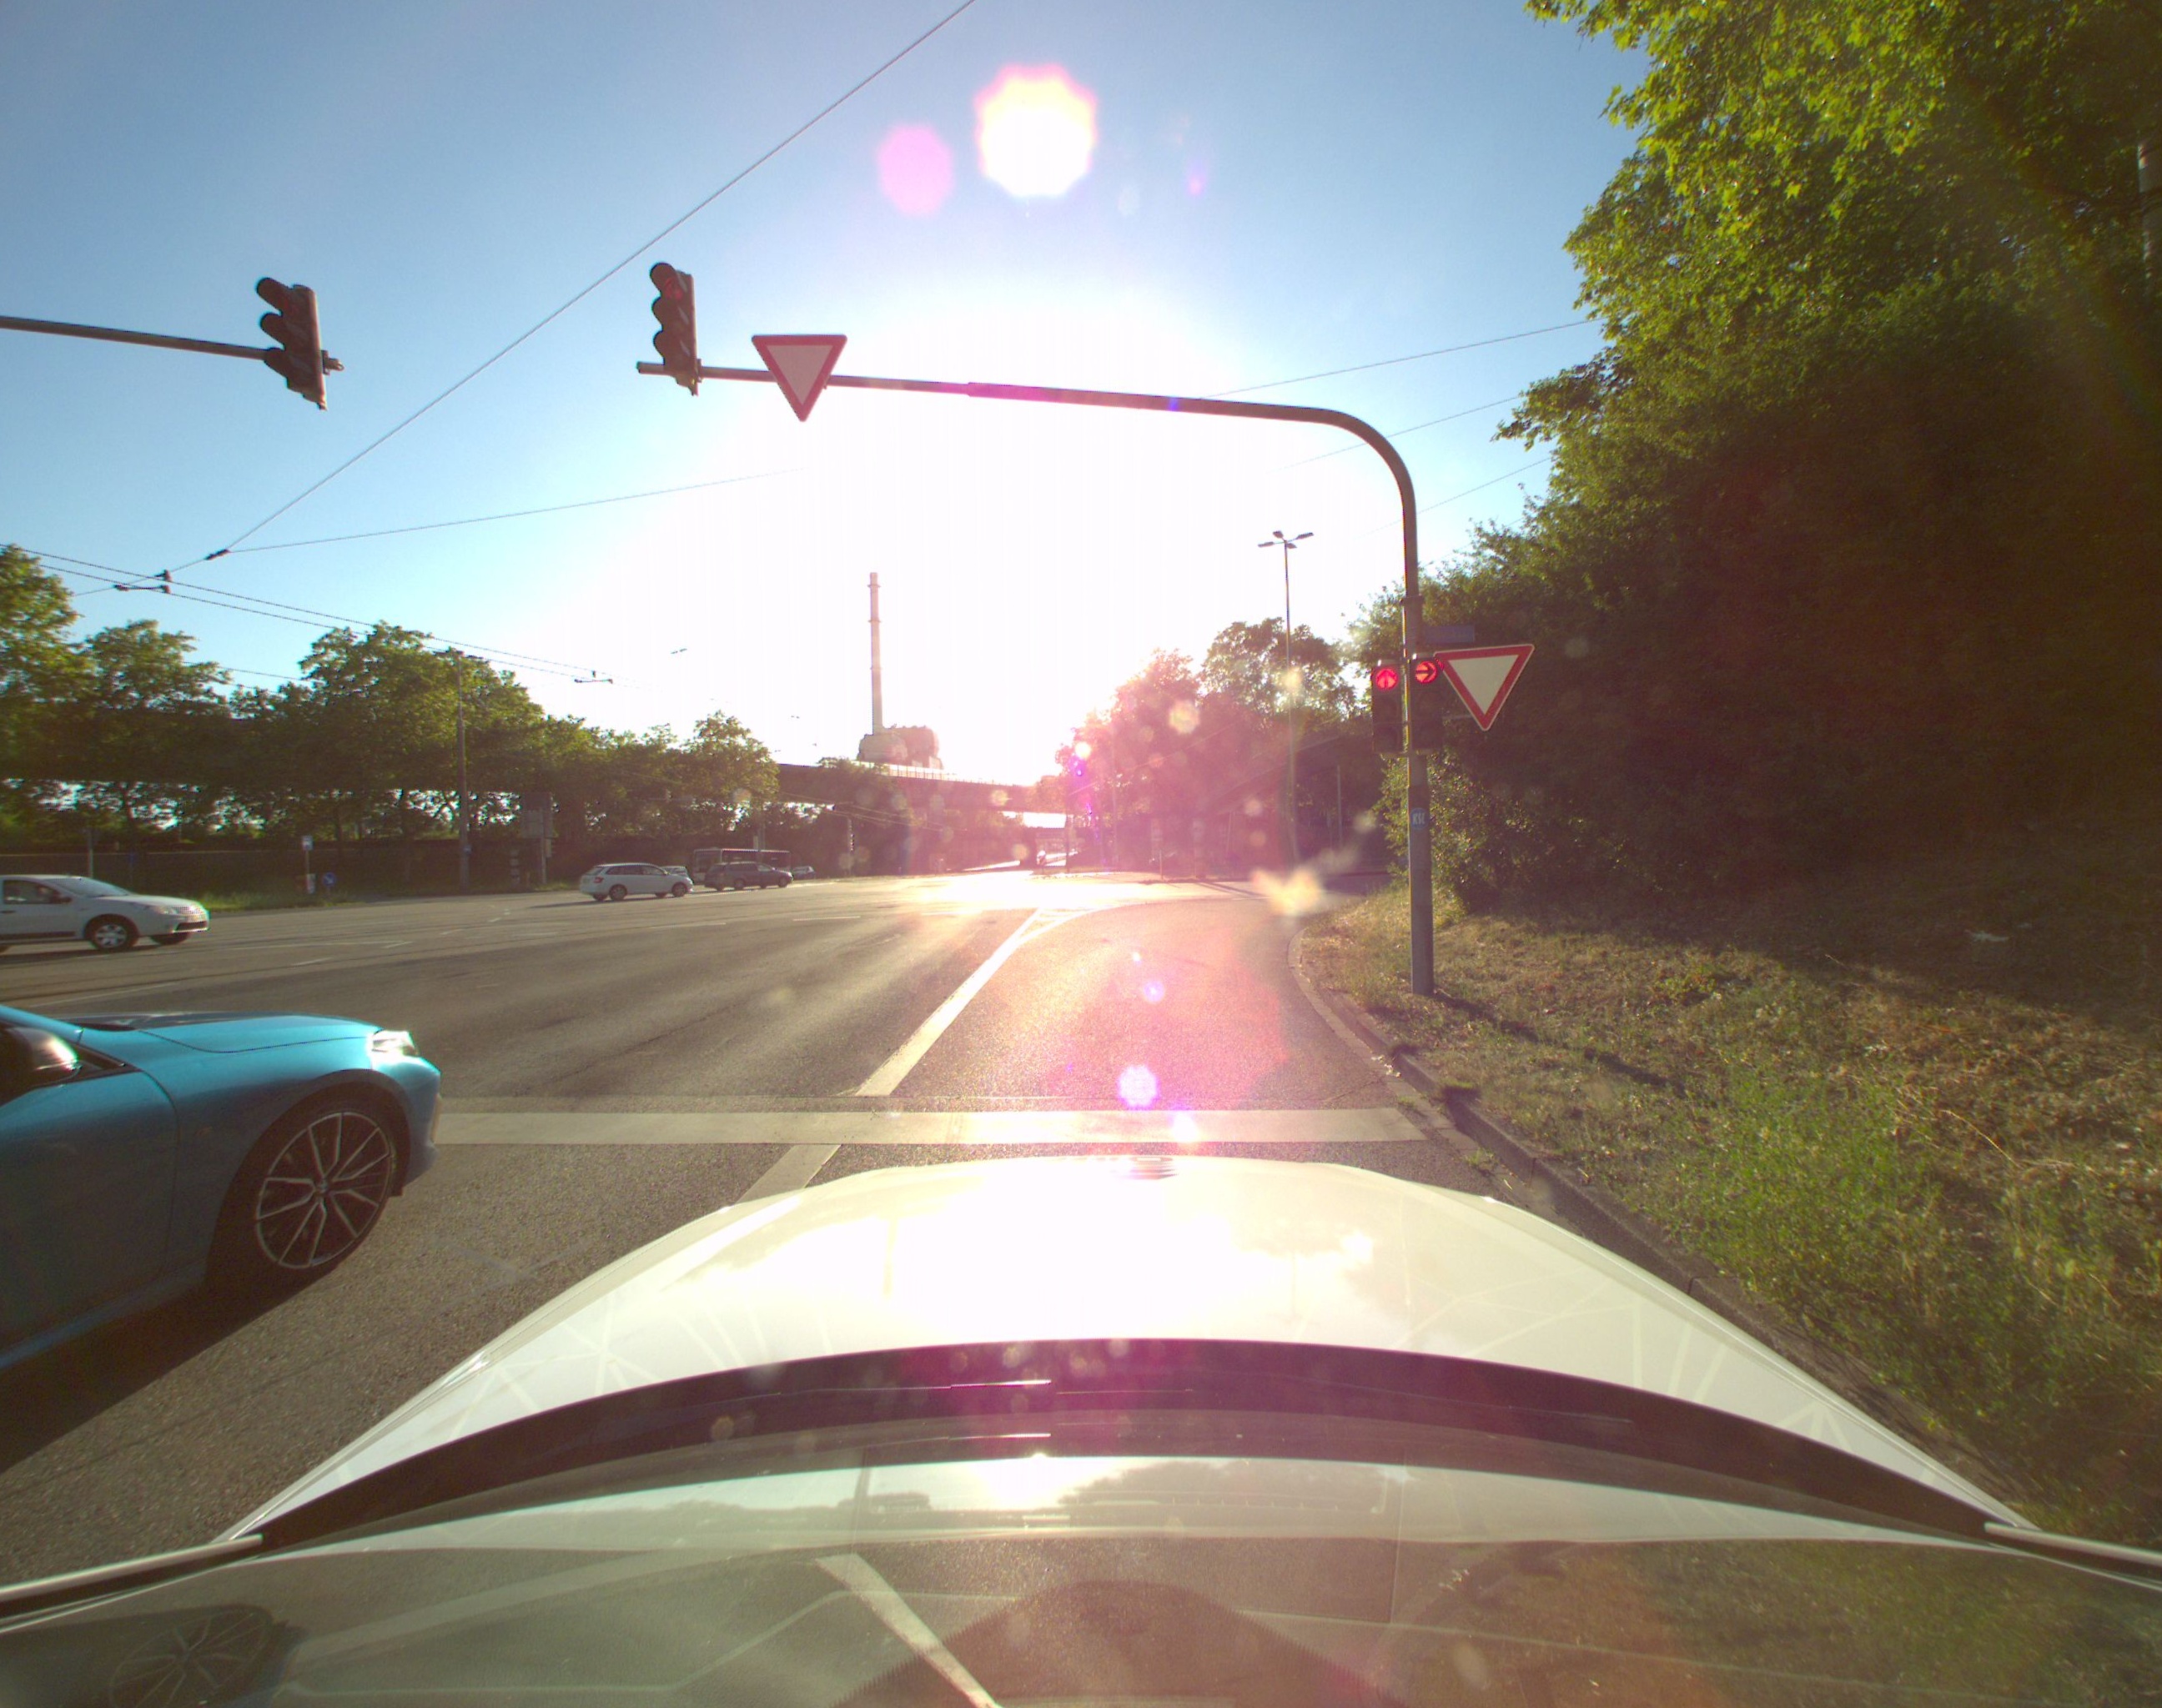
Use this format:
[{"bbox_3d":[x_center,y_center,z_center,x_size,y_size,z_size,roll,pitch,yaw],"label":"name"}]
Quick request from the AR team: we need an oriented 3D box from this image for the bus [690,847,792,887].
[{"bbox_3d":[-29.365,1.164,71.317,2.532,3.130,12.931,-2,-1,4],"label":"bus"}]

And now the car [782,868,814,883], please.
[{"bbox_3d":[-28.504,2.122,82.161,1.600,1.419,4.012,-1,0,3],"label":"car"}]

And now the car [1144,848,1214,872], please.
[{"bbox_3d":[6.891,0.421,57.469,4.585,1.574,1.685,-1,0,-16],"label":"car"}]

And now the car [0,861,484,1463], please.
[{"bbox_3d":[-3.541,0.804,1.556,1.709,1.465,4.205,-2,0,-1],"label":"car"}]

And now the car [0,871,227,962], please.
[{"bbox_3d":[-19.652,1.178,15.722,4.001,1.574,1.682,-1,0,-20],"label":"car"}]

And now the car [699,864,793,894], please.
[{"bbox_3d":[-17.463,1.259,42.708,1.649,1.405,4.472,-1,0,29],"label":"car"}]

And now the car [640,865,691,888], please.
[{"bbox_3d":[-30.168,1.592,59.272,1.601,1.512,4.007,-1,0,0],"label":"car"}]

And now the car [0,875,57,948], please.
[{"bbox_3d":[-26.166,1.316,17.242,5.371,1.574,1.728,-1,0,-22],"label":"car"}]

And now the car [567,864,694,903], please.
[{"bbox_3d":[-18.299,1.140,33.234,1.649,1.405,4.224,-1,0,37],"label":"car"}]
